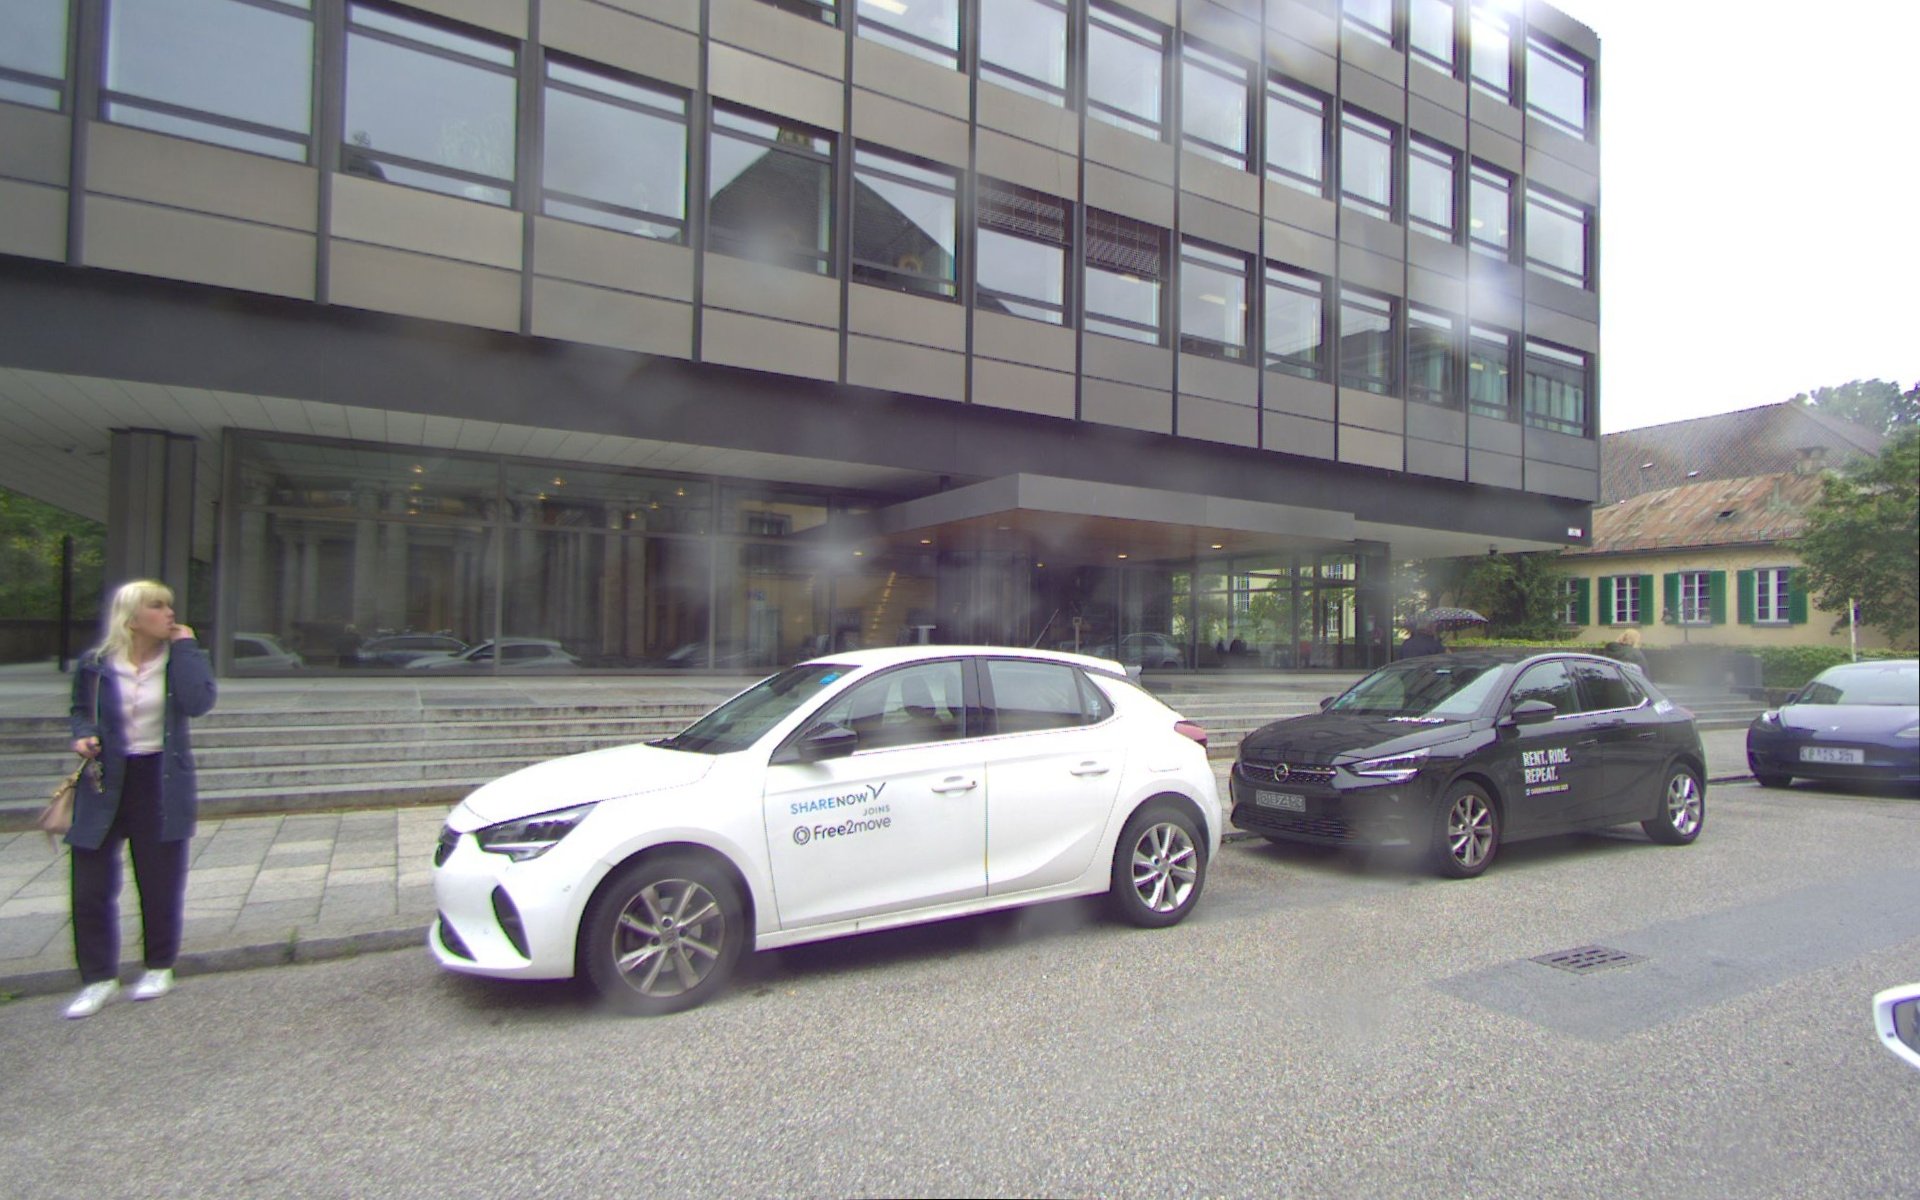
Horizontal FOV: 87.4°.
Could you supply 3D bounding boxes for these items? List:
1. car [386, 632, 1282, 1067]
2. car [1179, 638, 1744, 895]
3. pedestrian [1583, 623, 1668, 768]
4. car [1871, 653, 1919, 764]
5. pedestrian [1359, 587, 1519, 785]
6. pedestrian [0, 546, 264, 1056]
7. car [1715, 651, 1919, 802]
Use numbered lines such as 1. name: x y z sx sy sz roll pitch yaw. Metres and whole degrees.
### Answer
1. car: -0.490 0.971 5.195 4.228 1.458 1.675 2 -5 -29
2. car: 3.855 1.086 7.616 4.184 1.480 1.733 2 -5 -29
3. pedestrian: 8.528 1.192 12.872 0.745 1.772 0.947 -1 -2 44
4. car: 15.403 1.525 14.405 4.824 1.510 1.986 2 -4 -29
5. pedestrian: 5.399 0.924 11.351 1.207 2.082 1.129 2 -1 -30
6. pedestrian: -3.320 0.731 4.050 0.681 1.774 0.887 1 -4 -27
7. car: 10.993 1.366 11.642 4.863 1.458 1.913 3 -5 -32
